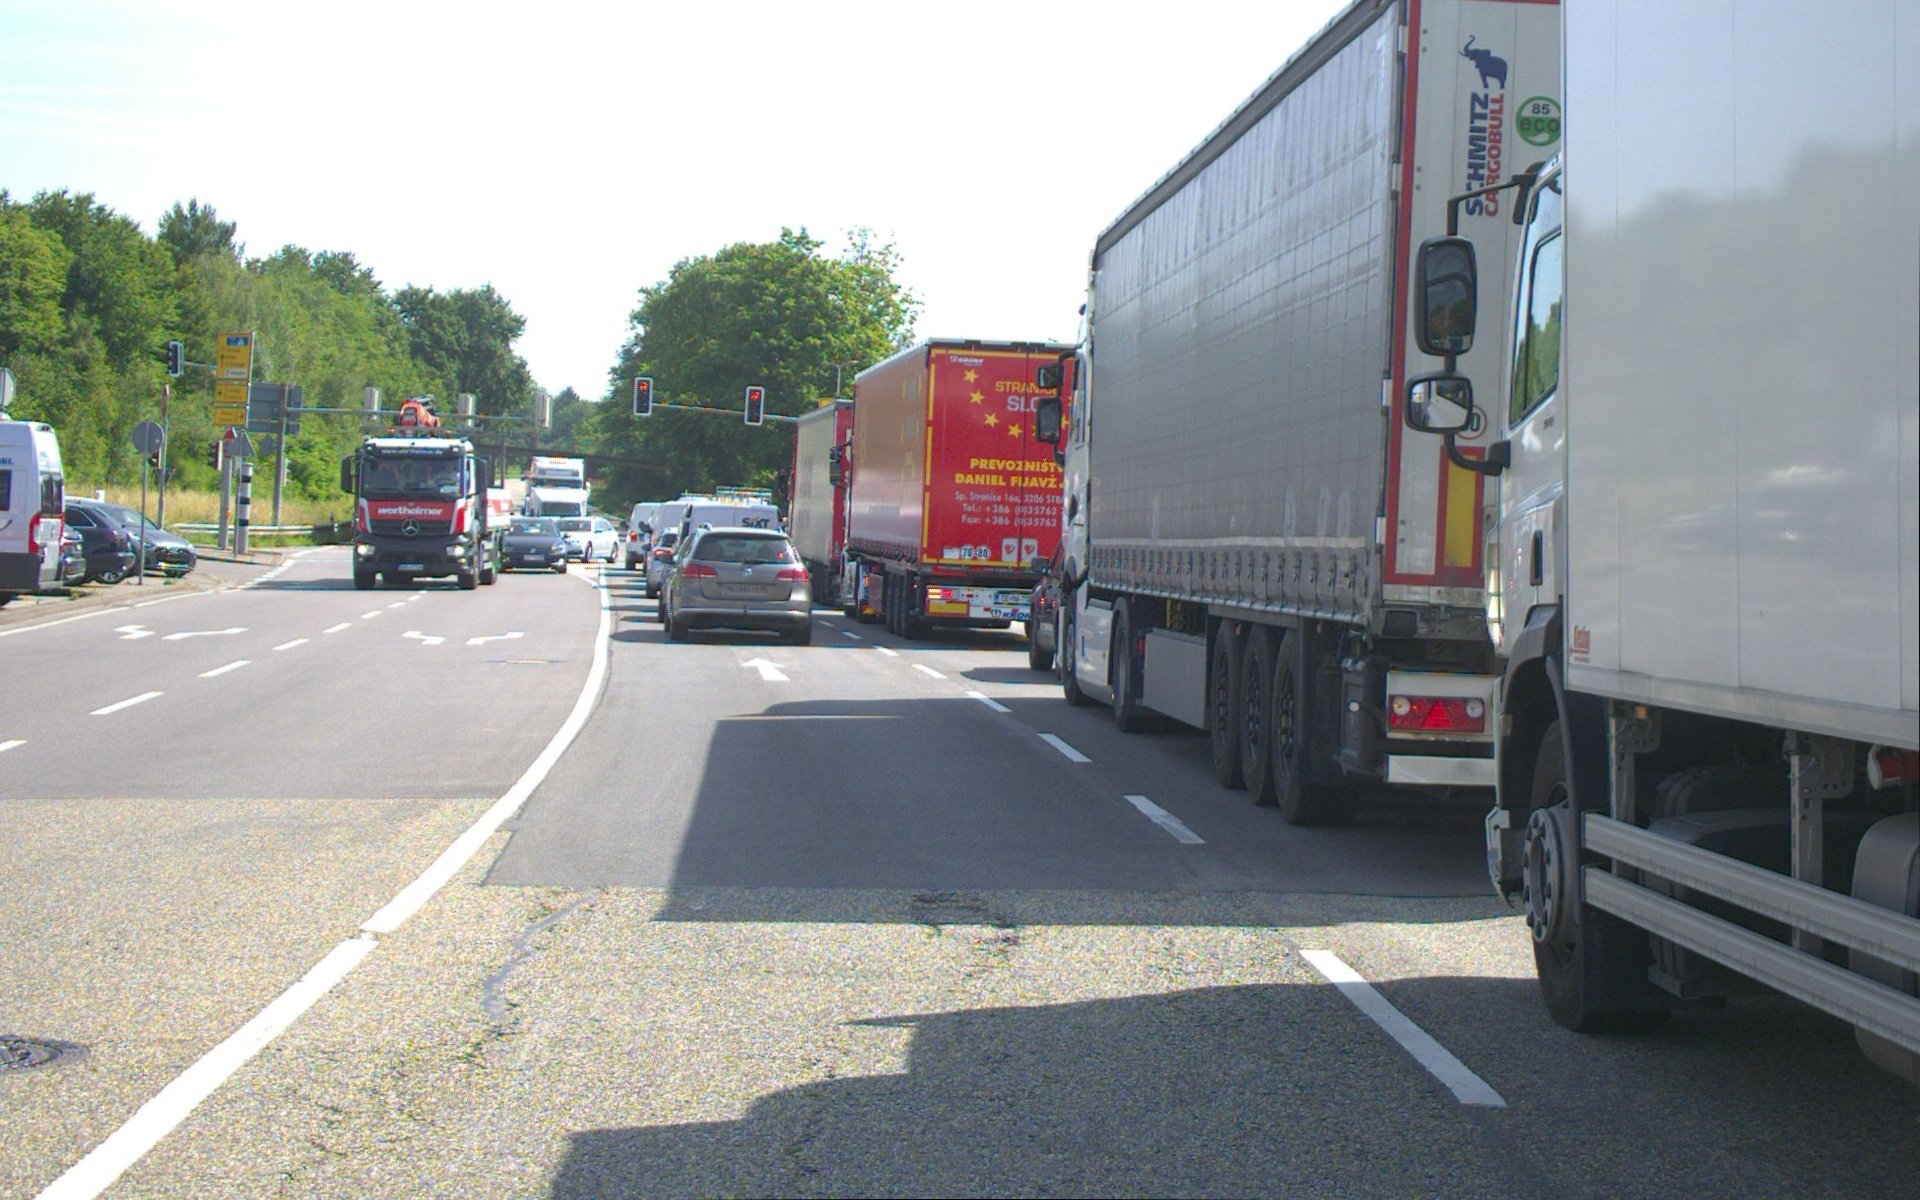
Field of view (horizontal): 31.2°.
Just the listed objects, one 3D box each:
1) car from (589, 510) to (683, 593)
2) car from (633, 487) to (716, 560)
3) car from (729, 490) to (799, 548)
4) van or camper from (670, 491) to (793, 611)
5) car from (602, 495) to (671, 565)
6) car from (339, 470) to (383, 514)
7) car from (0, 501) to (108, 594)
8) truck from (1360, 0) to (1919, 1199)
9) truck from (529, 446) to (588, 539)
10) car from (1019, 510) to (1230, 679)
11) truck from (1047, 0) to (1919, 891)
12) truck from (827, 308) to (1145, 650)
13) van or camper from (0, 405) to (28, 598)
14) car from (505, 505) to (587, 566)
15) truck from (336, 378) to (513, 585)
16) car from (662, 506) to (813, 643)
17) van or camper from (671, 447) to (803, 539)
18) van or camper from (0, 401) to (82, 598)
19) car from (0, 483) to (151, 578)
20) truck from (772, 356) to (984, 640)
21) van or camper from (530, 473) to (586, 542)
[{"bbox_3d":[-6.381,-0.951,67.713,1.726,1.514,3.313,3,0,-5],"label":"car"},{"bbox_3d":[-6.333,-1.678,76.457,1.726,1.514,3.313,3,0,-4],"label":"car"},{"bbox_3d":[-5.561,-2.275,97.285,1.726,1.514,3.313,3,0,-6],"label":"car"},{"bbox_3d":[-3.905,-0.854,58.328,1.852,1.899,3.785,3,1,-6],"label":"van or camper"},{"bbox_3d":[-9.270,-1.993,98.737,1.726,1.902,3.312,3,0,-2],"label":"car"},{"bbox_3d":[-29.518,-5.310,169.418,1.993,2.007,4.001,3,0,-10],"label":"car"},{"bbox_3d":[-15.988,-0.900,56.044,3.816,1.443,1.843,2,1,-6],"label":"car"},{"bbox_3d":[3.178,-0.438,7.184,2.879,3.798,11.143,2,1,-2],"label":"truck"},{"bbox_3d":[-19.142,-5.097,164.203,2.552,4.292,7.597,1,1,-6],"label":"truck"},{"bbox_3d":[1.714,-0.102,37.090,1.818,1.679,4.001,1,1,-3],"label":"car"},{"bbox_3d":[2.741,-1.080,23.155,2.890,4.251,16.712,2,1,-3],"label":"truck"},{"bbox_3d":[0.013,-1.756,52.367,2.956,4.255,16.588,2,1,-6],"label":"truck"},{"bbox_3d":[-17.175,-1.594,51.303,5.891,2.863,2.290,2,2,-5],"label":"van or camper"},{"bbox_3d":[-10.993,-1.731,91.556,1.806,1.554,4.388,1,1,-3],"label":"car"},{"bbox_3d":[-11.589,-2.546,75.343,2.956,4.194,10.649,0,1,-4],"label":"truck"},{"bbox_3d":[-2.805,-0.347,43.947,1.790,1.633,3.504,2,1,-2],"label":"car"},{"bbox_3d":[-8.570,-4.086,132.661,2.211,3.045,5.894,8,2,25],"label":"van or camper"},{"bbox_3d":[-15.429,-1.520,48.995,5.244,2.722,2.211,2,1,-4],"label":"van or camper"},{"bbox_3d":[-15.990,-1.222,59.099,3.816,1.534,1.843,2,1,-6],"label":"car"},{"bbox_3d":[-2.006,-2.135,73.000,3.062,5.202,17.011,2,1,-6],"label":"truck"},{"bbox_3d":[-17.602,-4.012,150.720,2.223,2.831,5.712,3,0,-6],"label":"van or camper"}]
